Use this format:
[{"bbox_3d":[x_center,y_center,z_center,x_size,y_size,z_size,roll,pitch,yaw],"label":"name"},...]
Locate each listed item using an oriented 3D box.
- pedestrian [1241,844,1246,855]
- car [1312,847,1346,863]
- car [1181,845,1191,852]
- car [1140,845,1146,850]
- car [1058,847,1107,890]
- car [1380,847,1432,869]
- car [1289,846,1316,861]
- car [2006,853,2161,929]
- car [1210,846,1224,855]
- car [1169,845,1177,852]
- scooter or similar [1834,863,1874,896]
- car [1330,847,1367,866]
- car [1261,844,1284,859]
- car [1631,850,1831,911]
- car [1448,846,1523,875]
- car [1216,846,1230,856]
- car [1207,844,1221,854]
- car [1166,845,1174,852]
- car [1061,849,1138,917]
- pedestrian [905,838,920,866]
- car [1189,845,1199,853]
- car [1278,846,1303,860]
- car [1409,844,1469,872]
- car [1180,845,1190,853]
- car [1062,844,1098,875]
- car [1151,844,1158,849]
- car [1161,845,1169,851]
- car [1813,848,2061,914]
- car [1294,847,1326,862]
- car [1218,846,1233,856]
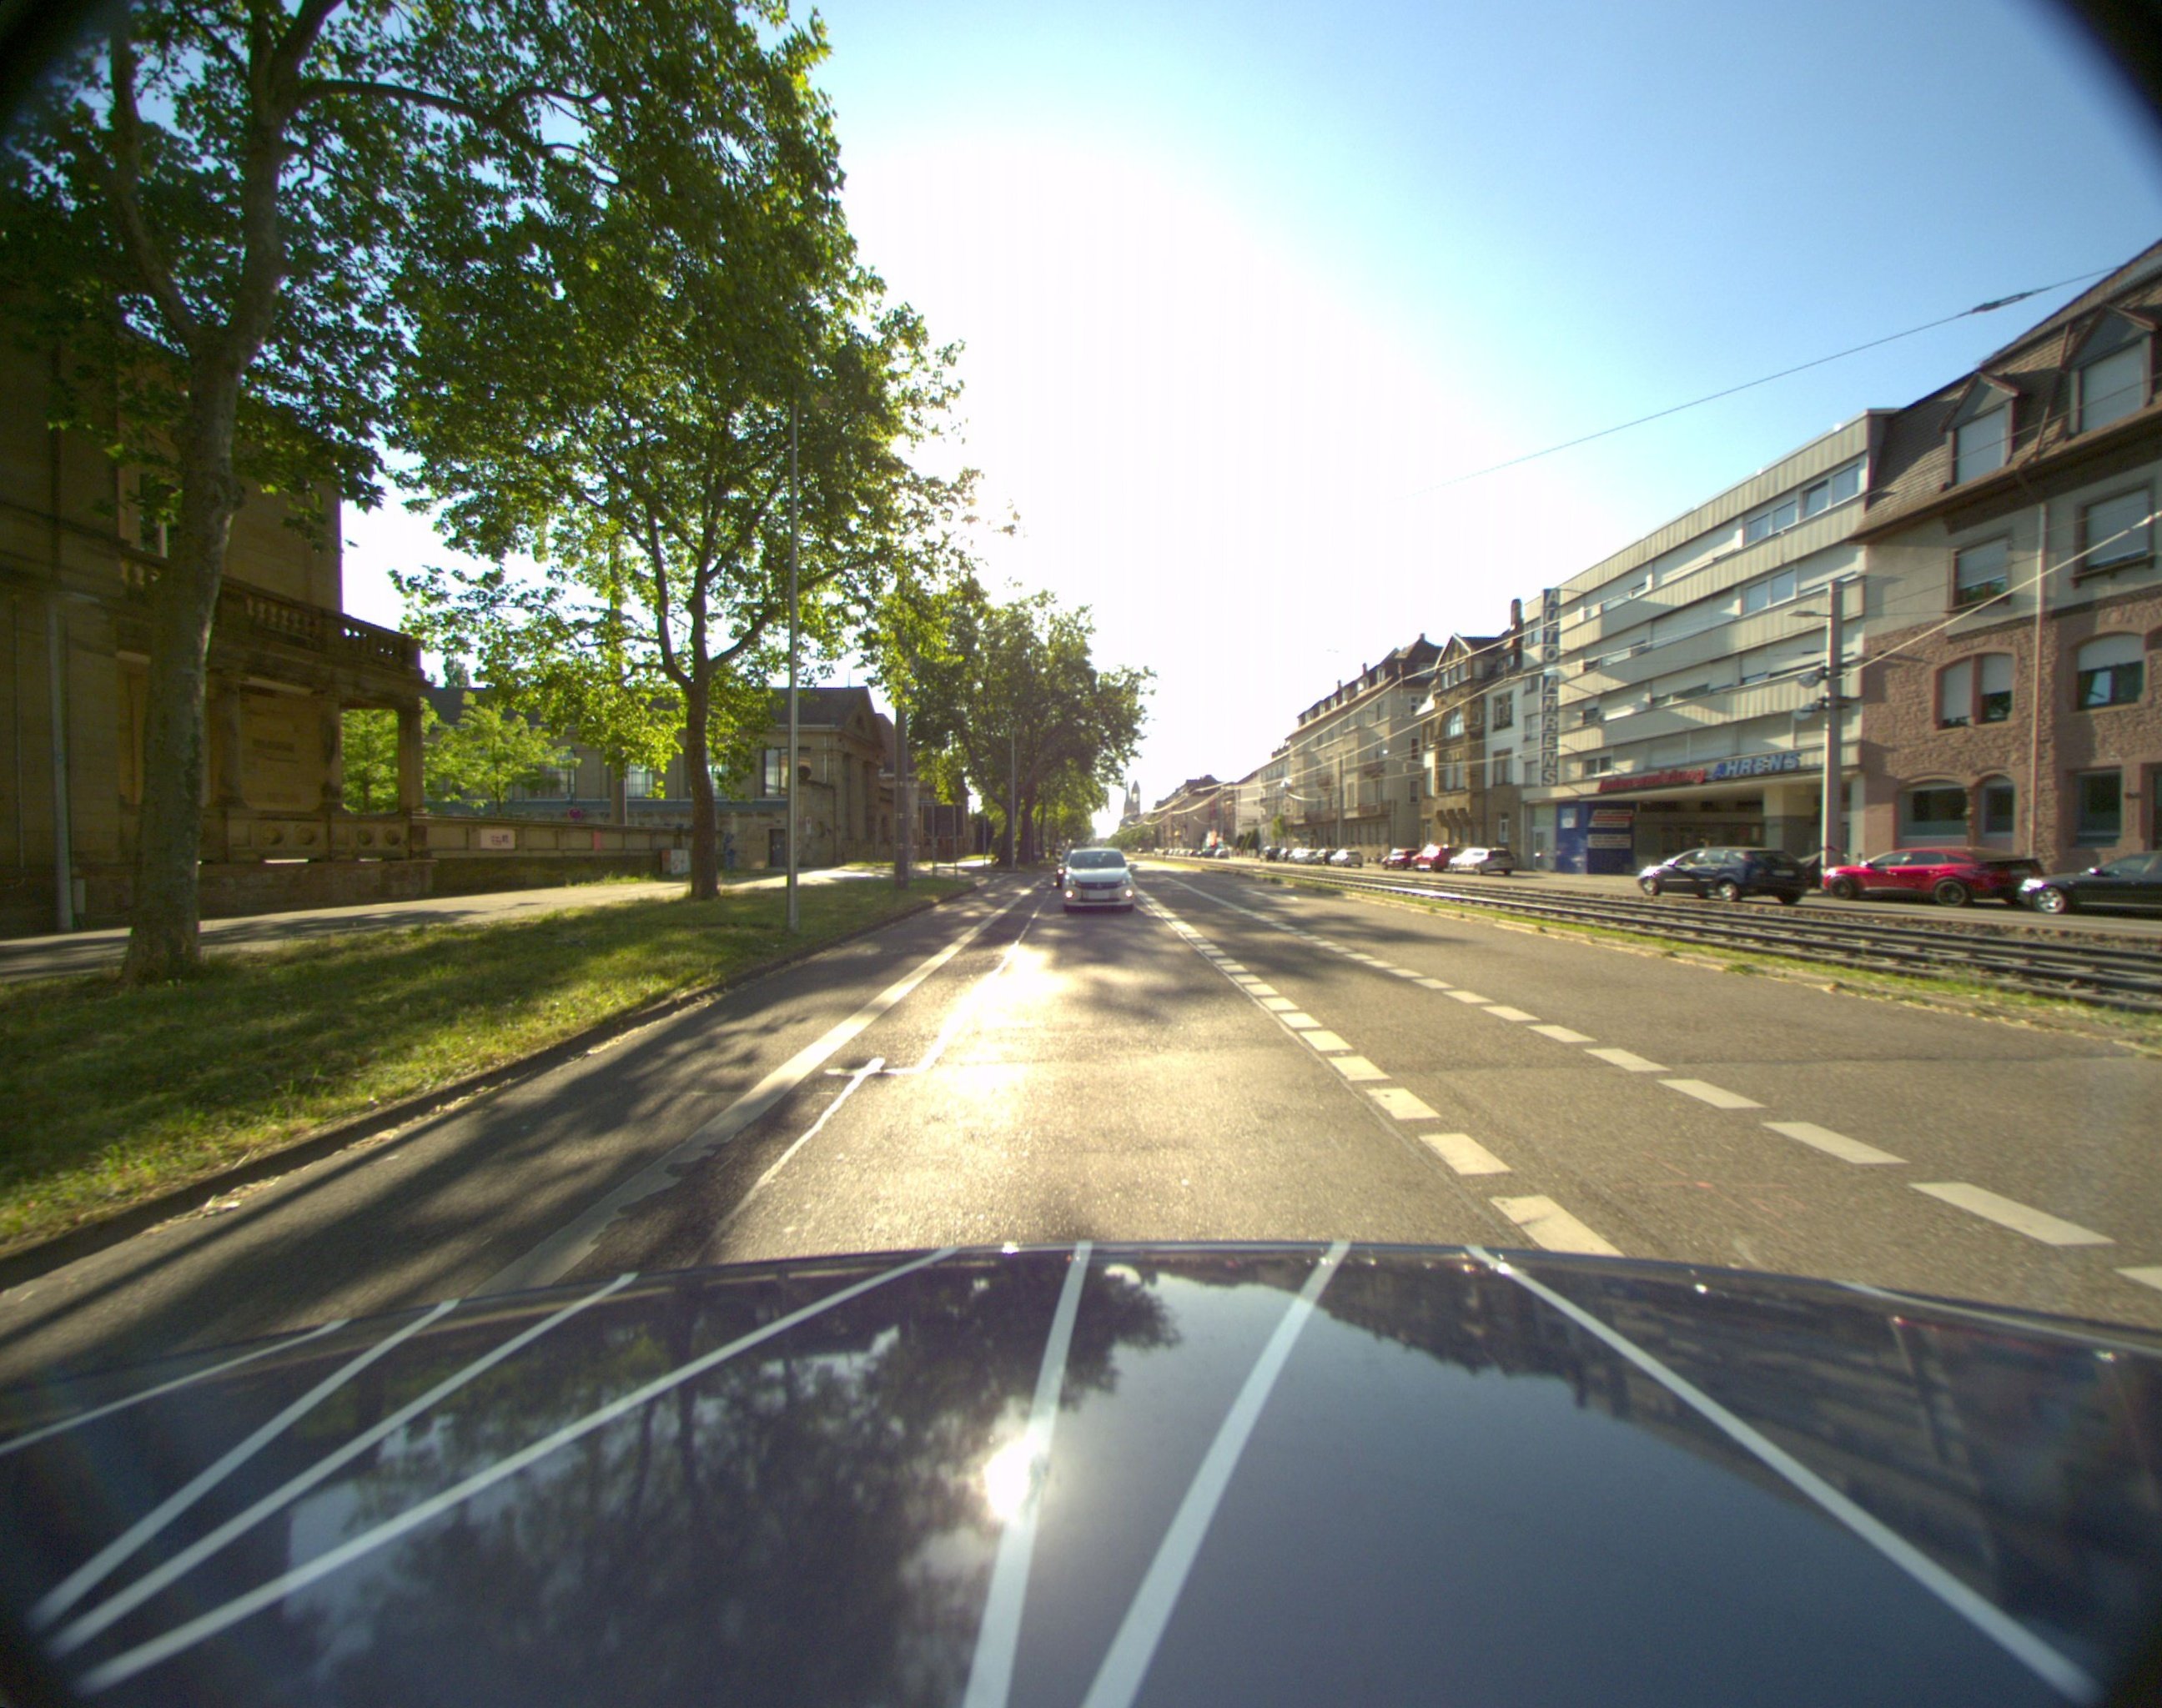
[{"bbox_3d":[26.151,-0.798,122.439,0.725,1.779,0.677,0,1,0],"label":"pedestrian"},{"bbox_3d":[23.070,0.039,70.855,1.802,1.422,3.822,-1,1,-2],"label":"car"},{"bbox_3d":[22.609,-1.172,163.249,1.624,1.581,3.449,-1,1,0],"label":"car"},{"bbox_3d":[19.877,-2.072,243.300,1.822,1.674,3.999,0,1,1],"label":"car"},{"bbox_3d":[0.073,0.476,28.278,1.686,1.462,4.054,-1,1,1],"label":"car"},{"bbox_3d":[22.879,0.253,53.657,1.756,1.487,3.728,-2,1,-6],"label":"car"},{"bbox_3d":[23.280,-0.070,79.926,1.802,1.471,3.822,-1,1,1],"label":"car"},{"bbox_3d":[22.432,0.742,15.735,1.699,1.429,3.927,-3,1,-1],"label":"car"},{"bbox_3d":[22.930,-0.612,128.468,1.684,1.562,3.388,-1,1,0],"label":"car"},{"bbox_3d":[23.369,-1.398,193.290,1.624,1.581,3.449,-1,1,0],"label":"car"},{"bbox_3d":[25.599,0.827,25.178,0.205,1.063,1.121,-1,1,1],"label":"scooter or similar"},{"bbox_3d":[23.013,0.199,65.500,1.802,1.471,3.822,-1,1,1],"label":"car"},{"bbox_3d":[23.009,-0.284,91.363,1.876,1.727,3.915,-1,1,1],"label":"car"},{"bbox_3d":[17.377,0.627,20.636,1.824,1.449,4.165,1,1,-1],"label":"car"},{"bbox_3d":[22.854,0.347,43.133,1.861,1.490,4.381,-2,1,-1],"label":"car"},{"bbox_3d":[23.009,-0.497,123.149,1.684,1.562,3.388,-1,1,0],"label":"car"},{"bbox_3d":[23.375,-0.853,133.559,1.727,1.776,3.880,-1,1,0],"label":"car"},{"bbox_3d":[23.106,-1.462,198.210,1.624,1.581,3.449,-1,1,0],"label":"car"},{"bbox_3d":[0.429,0.639,18.859,1.686,1.462,4.054,-1,1,1],"label":"car"},{"bbox_3d":[-10.010,-0.139,45.208,0.672,1.653,0.874,1,1,2],"label":"pedestrian"},{"bbox_3d":[22.896,-1.067,154.109,1.624,1.581,3.449,-1,1,0],"label":"car"},{"bbox_3d":[23.591,-0.105,85.676,1.802,1.471,3.822,-1,1,1],"label":"car"},{"bbox_3d":[22.822,0.212,48.561,1.860,1.677,4.262,-2,1,1],"label":"car"},{"bbox_3d":[23.130,-1.152,168.839,1.624,1.581,3.449,-1,1,0],"label":"car"},{"bbox_3d":[-0.023,0.249,40.030,1.833,1.543,3.999,0,1,1],"label":"car"},{"bbox_3d":[23.583,-2.301,243.576,1.624,1.581,3.449,-1,1,0],"label":"car"},{"bbox_3d":[22.702,-1.677,205.725,1.624,1.581,3.449,-1,1,0],"label":"car"},{"bbox_3d":[22.677,0.626,20.427,1.861,1.490,4.209,-3,1,-1],"label":"car"},{"bbox_3d":[22.599,0.059,75.067,1.642,1.438,3.537,-1,1,-7],"label":"car"},{"bbox_3d":[22.467,-0.488,117.902,1.677,1.623,3.407,-1,1,1],"label":"car"}]
